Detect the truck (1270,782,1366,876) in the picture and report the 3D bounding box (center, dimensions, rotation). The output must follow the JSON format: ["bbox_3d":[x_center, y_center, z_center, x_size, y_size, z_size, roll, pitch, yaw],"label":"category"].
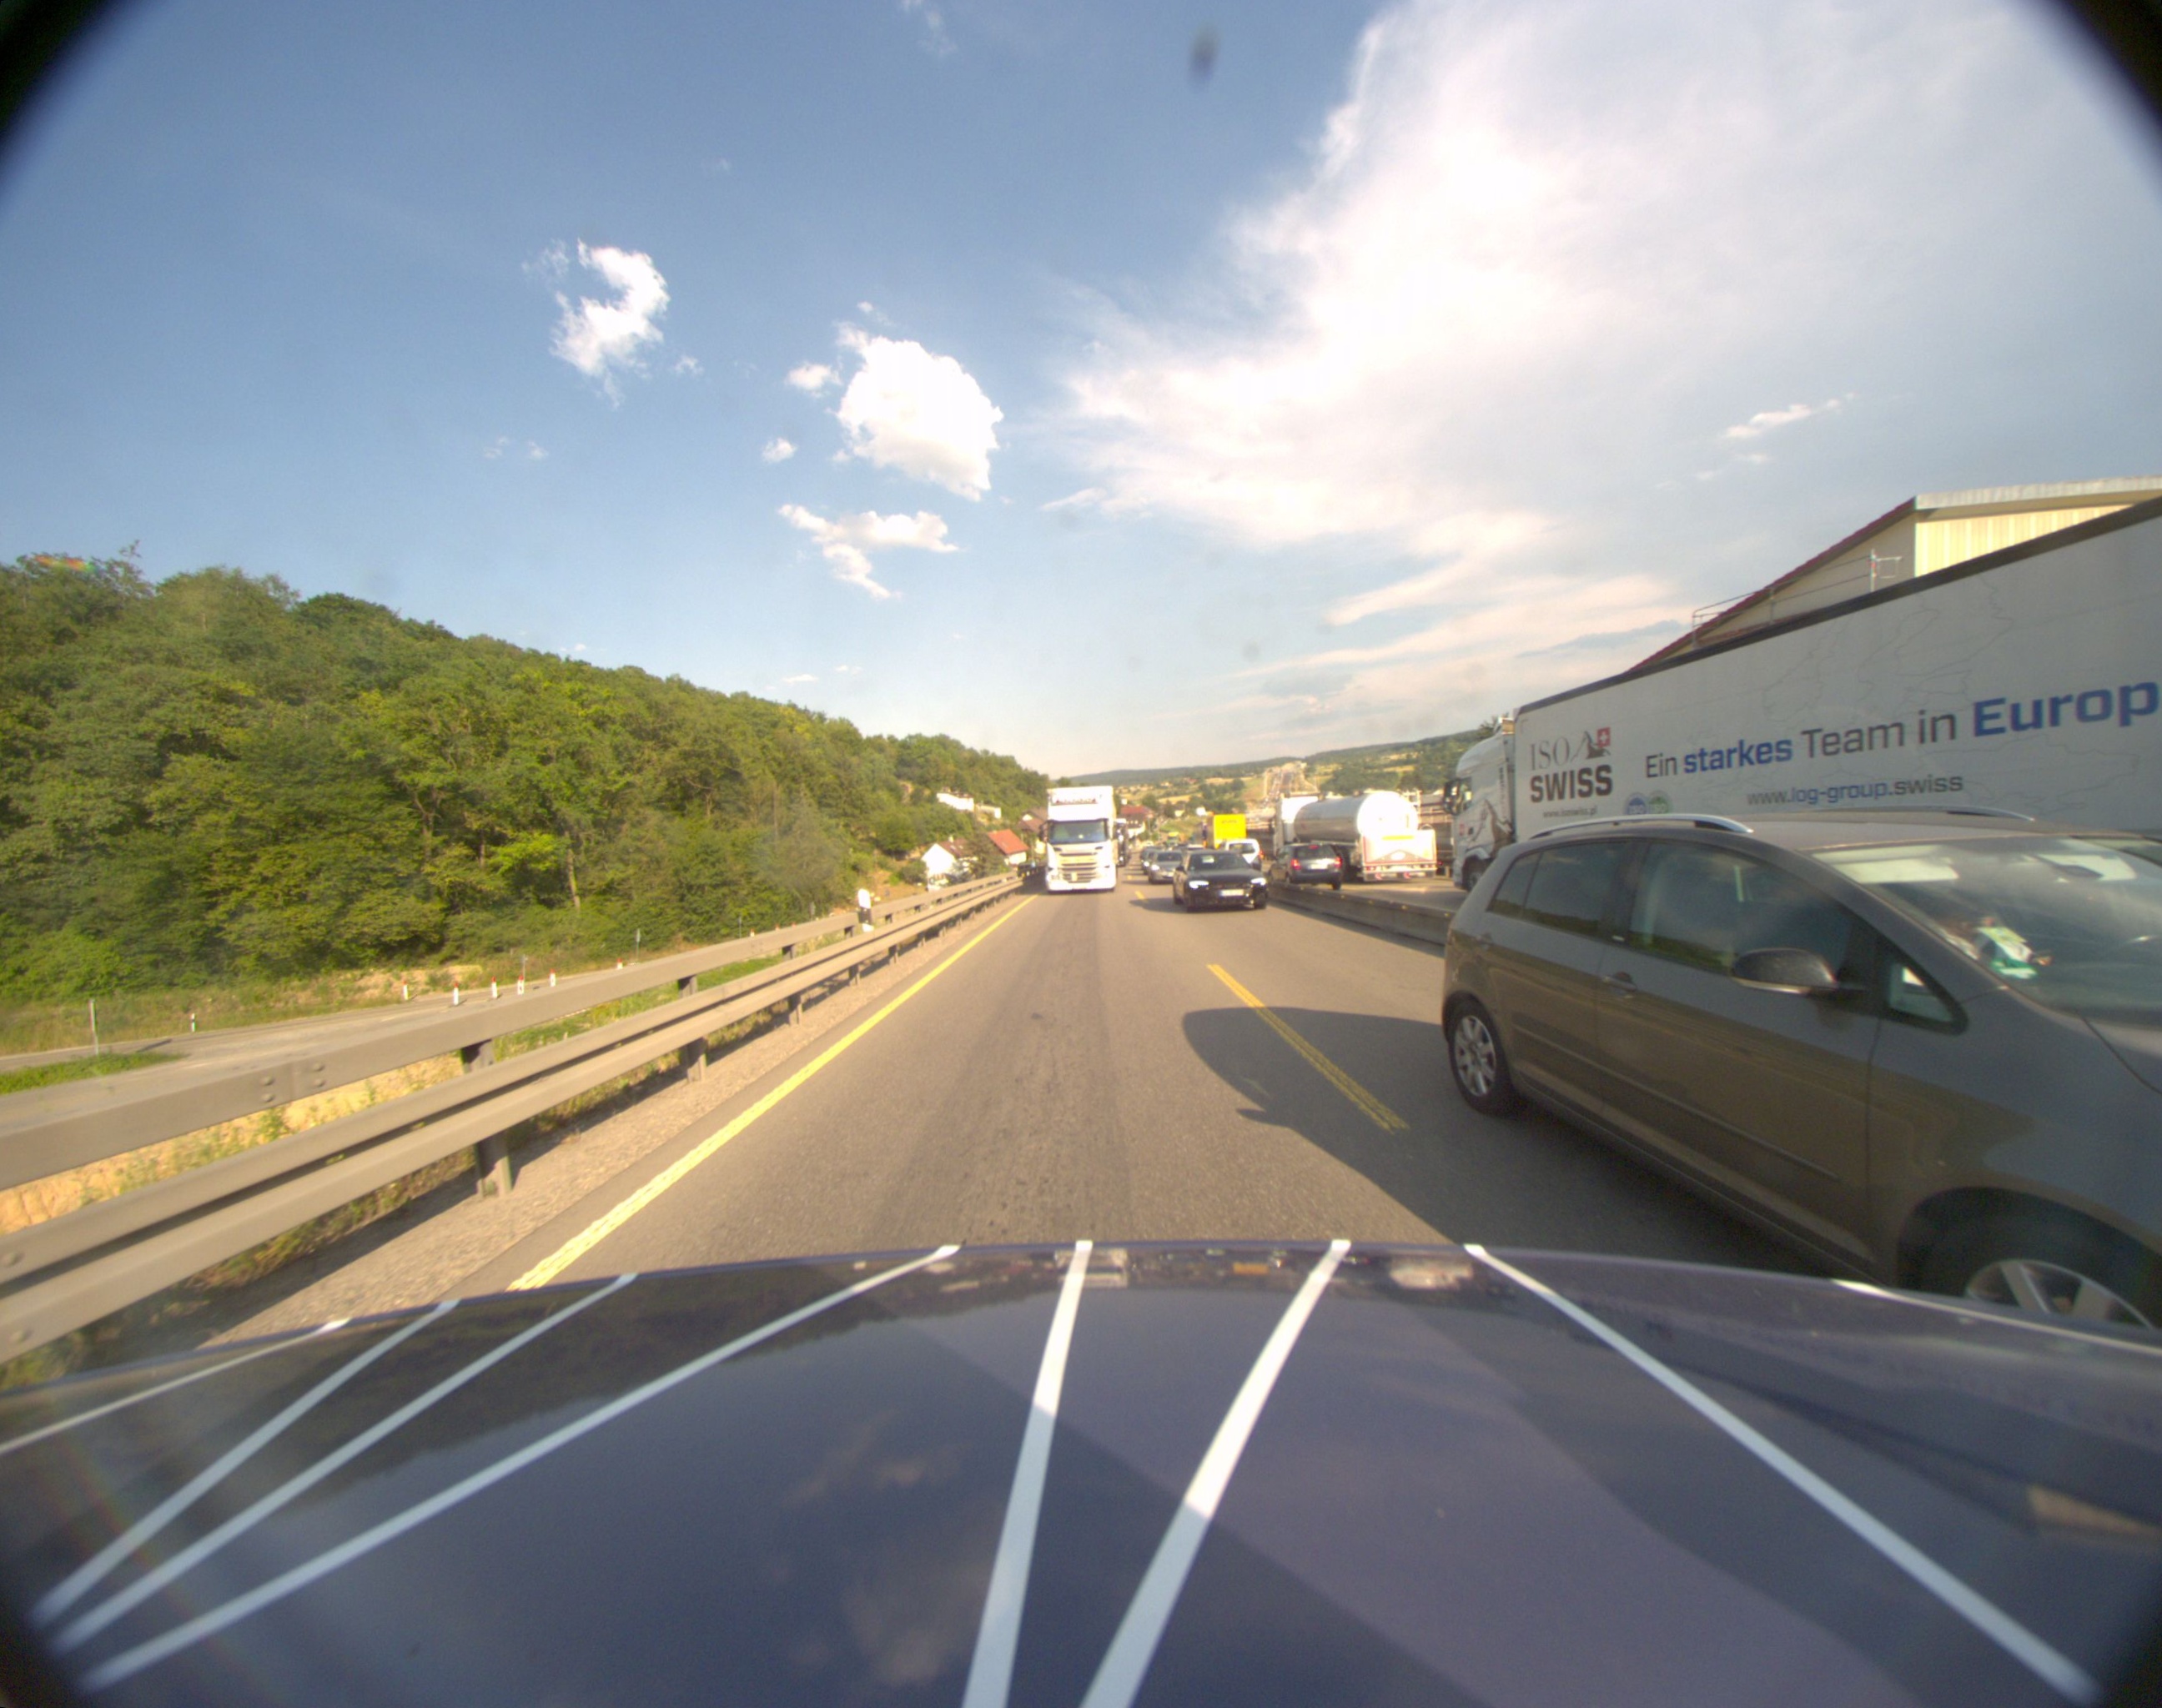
[{"bbox_3d":[10.780,-1.106,35.193,2.605,3.865,6.203,-2,1,2],"label":"truck"}]

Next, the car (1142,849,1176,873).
[{"bbox_3d":[4.554,0.379,44.874,1.627,1.239,4.000,-3,1,1],"label":"car"}]

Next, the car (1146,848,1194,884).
[{"bbox_3d":[3.810,0.487,33.107,1.698,1.390,4.000,-4,0,2],"label":"car"}]

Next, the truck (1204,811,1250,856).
[{"bbox_3d":[12.986,-1.835,68.429,2.899,3.689,9.489,-2,1,4],"label":"truck"}]

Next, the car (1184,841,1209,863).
[{"bbox_3d":[9.048,-0.195,59.827,1.728,1.521,4.001,-3,1,6],"label":"car"}]

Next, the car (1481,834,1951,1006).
[{"bbox_3d":[6.771,0.553,8.938,1.660,1.421,4.564,-3,1,0],"label":"car"}]

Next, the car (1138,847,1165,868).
[{"bbox_3d":[5.053,0.230,54.824,1.627,1.316,4.000,-3,1,1],"label":"car"}]

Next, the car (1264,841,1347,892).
[{"bbox_3d":[7.270,0.360,24.931,1.662,1.501,3.690,-3,1,2],"label":"car"}]

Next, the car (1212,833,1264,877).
[{"bbox_3d":[7.354,0.001,35.934,1.866,1.899,4.001,-2,1,5],"label":"car"}]

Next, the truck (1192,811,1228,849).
[{"bbox_3d":[14.389,-2.667,85.410,2.899,3.861,9.489,-2,1,4],"label":"truck"}]

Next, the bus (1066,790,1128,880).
[{"bbox_3d":[1.041,-0.995,44.319,2.984,4.553,9.968,-3,0,2],"label":"bus"}]

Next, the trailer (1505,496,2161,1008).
[{"bbox_3d":[9.983,-0.879,8.498,2.864,4.013,13.969,-2,1,1],"label":"trailer"}]

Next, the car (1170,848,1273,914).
[{"bbox_3d":[3.356,0.584,18.859,1.867,1.391,4.000,-2,1,1],"label":"car"}]

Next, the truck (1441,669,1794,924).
[{"bbox_3d":[10.153,-0.967,15.385,2.851,4.013,6.100,-2,1,1],"label":"truck"}]

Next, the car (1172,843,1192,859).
[{"bbox_3d":[10.377,-0.342,78.342,1.758,1.521,4.000,-2,1,5],"label":"car"}]

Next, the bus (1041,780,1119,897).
[{"bbox_3d":[0.221,-0.638,32.661,2.635,4.077,11.314,-2,1,3],"label":"bus"}]

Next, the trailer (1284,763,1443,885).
[{"bbox_3d":[10.577,-1.037,29.943,2.603,3.858,10.577,-2,1,2],"label":"trailer"}]

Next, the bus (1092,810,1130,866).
[{"bbox_3d":[2.718,-1.346,68.363,2.984,4.553,10.904,-3,0,3],"label":"bus"}]

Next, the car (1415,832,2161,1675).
[{"bbox_3d":[2.912,0.752,2.626,1.688,1.565,4.099,-3,1,1],"label":"car"}]
